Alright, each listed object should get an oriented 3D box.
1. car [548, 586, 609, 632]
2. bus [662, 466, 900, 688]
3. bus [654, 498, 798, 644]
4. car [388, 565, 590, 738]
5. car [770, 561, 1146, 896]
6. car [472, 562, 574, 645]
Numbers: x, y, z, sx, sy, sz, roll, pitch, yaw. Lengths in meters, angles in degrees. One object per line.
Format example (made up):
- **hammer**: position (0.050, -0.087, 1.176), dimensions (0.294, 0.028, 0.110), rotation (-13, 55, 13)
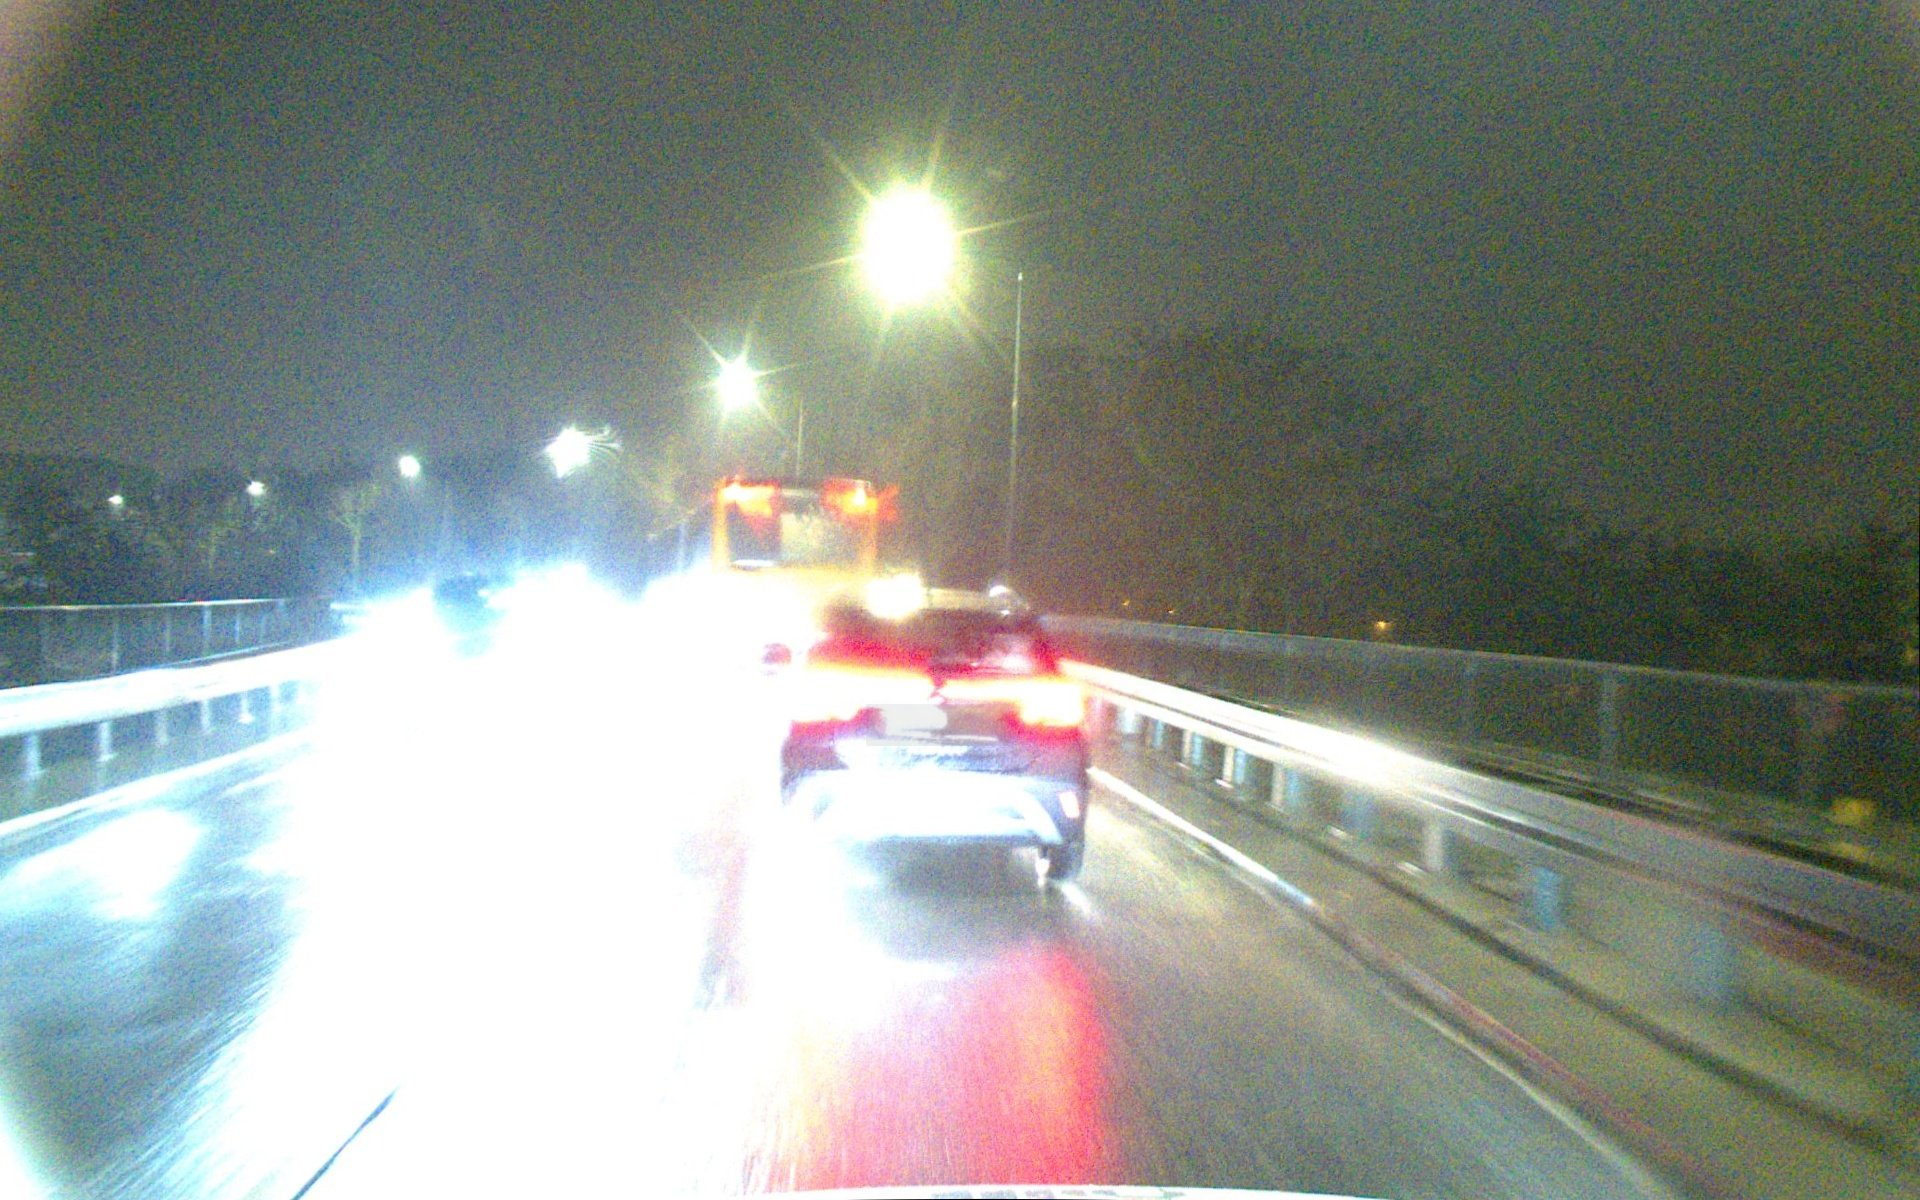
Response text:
- **car**: position (-14.970, 0.364, 64.848), dimensions (1.615, 1.685, 3.681), rotation (-1, -1, -24)
- **bus**: position (-3.692, -0.396, 30.295), dimensions (3.029, 3.187, 12.658), rotation (0, 1, -12)
- **bus**: position (-5.875, -0.645, 40.432), dimensions (2.995, 3.186, 8.055), rotation (-1, 0, -11)
- **car**: position (-5.249, 0.509, 18.920), dimensions (1.746, 1.734, 4.304), rotation (-1, 0, -10)
- **car**: position (-0.107, 0.624, 10.029), dimensions (1.819, 1.614, 3.997), rotation (0, 0, -3)
- **car**: position (-12.444, 0.082, 46.882), dimensions (2.017, 2.208, 5.115), rotation (0, 0, -24)
